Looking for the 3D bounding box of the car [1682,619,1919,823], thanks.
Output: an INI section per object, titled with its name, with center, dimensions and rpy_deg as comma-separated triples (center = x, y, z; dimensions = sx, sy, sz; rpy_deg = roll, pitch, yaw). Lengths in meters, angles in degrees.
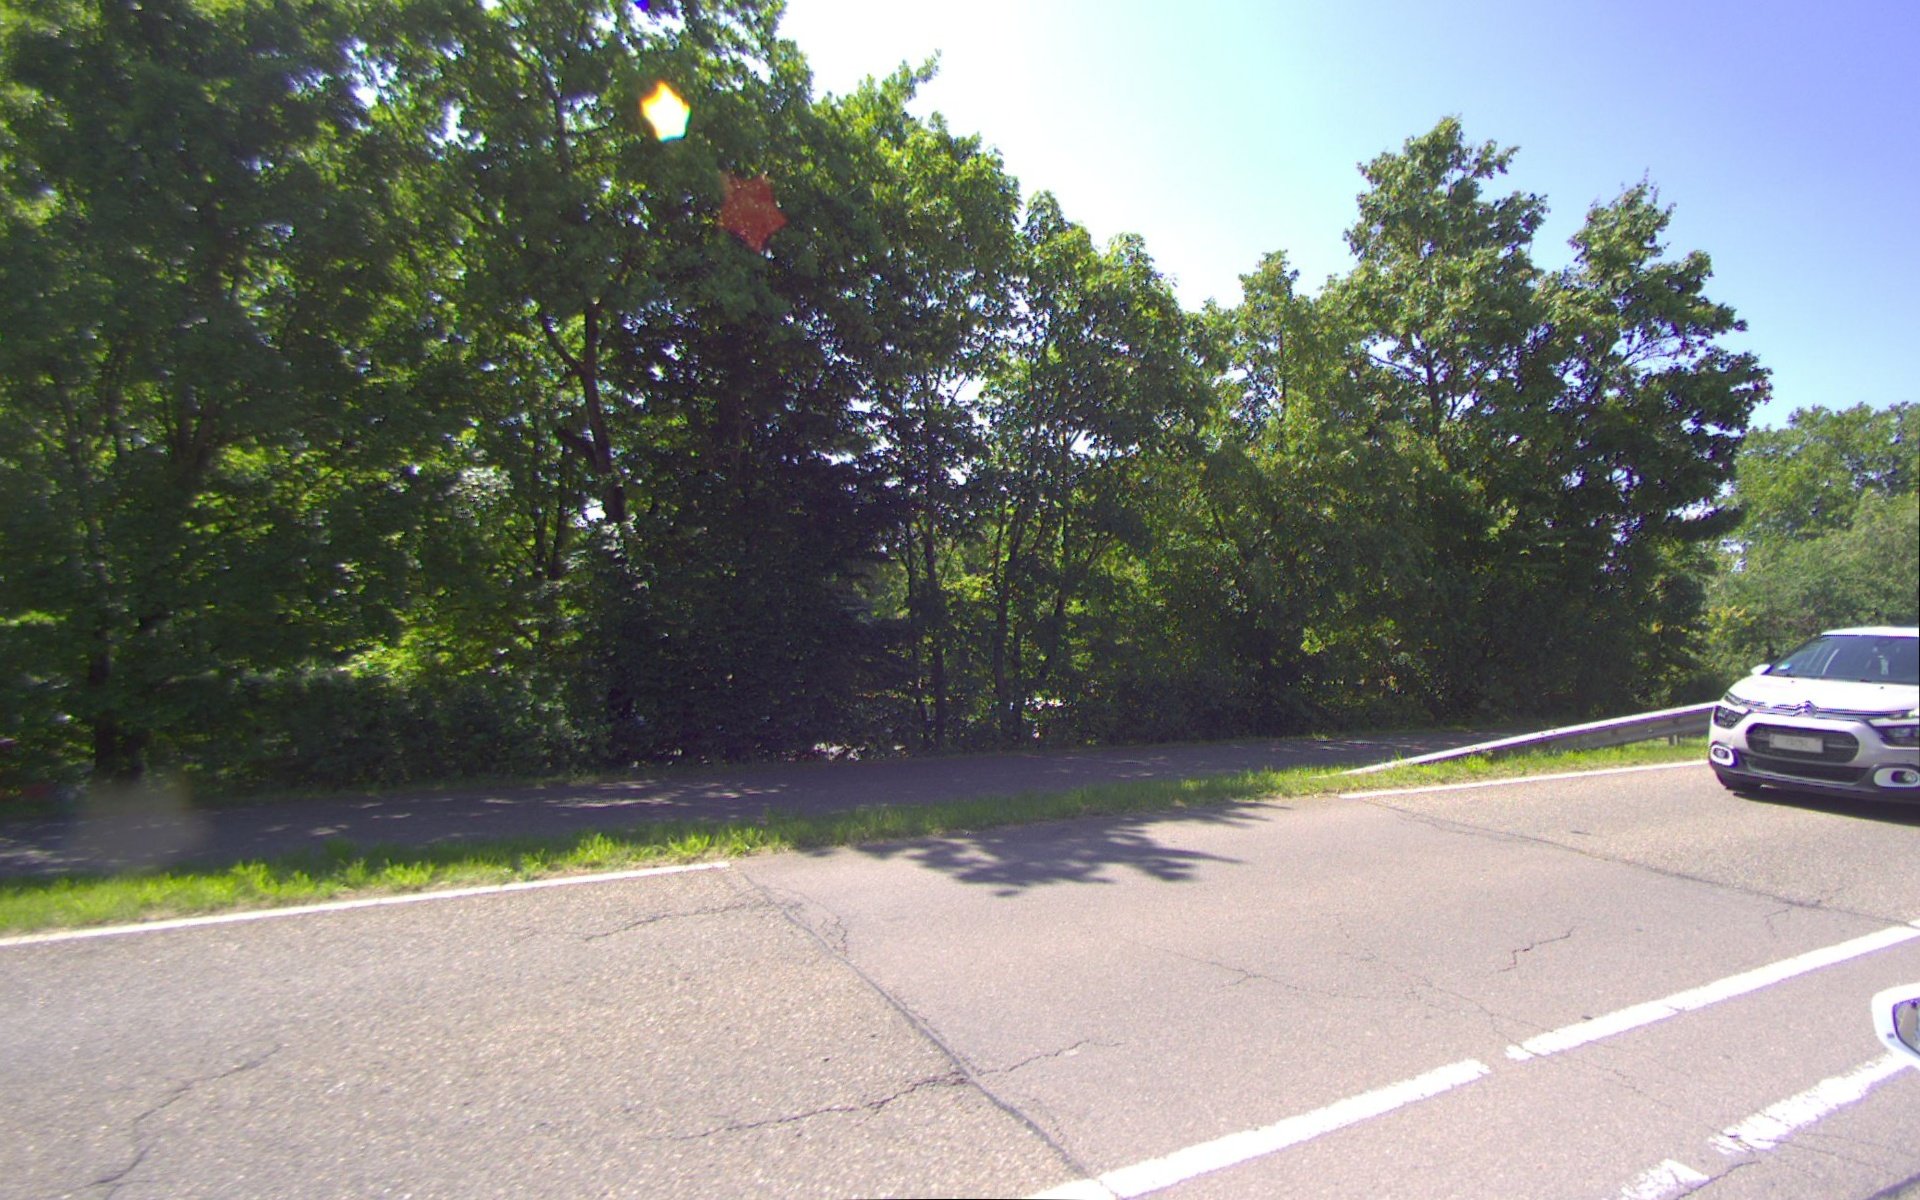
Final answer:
[car]
center = 8.415, 0.941, 8.989
dimensions = 3.842, 1.475, 1.731
rpy_deg = 1, 0, -30
